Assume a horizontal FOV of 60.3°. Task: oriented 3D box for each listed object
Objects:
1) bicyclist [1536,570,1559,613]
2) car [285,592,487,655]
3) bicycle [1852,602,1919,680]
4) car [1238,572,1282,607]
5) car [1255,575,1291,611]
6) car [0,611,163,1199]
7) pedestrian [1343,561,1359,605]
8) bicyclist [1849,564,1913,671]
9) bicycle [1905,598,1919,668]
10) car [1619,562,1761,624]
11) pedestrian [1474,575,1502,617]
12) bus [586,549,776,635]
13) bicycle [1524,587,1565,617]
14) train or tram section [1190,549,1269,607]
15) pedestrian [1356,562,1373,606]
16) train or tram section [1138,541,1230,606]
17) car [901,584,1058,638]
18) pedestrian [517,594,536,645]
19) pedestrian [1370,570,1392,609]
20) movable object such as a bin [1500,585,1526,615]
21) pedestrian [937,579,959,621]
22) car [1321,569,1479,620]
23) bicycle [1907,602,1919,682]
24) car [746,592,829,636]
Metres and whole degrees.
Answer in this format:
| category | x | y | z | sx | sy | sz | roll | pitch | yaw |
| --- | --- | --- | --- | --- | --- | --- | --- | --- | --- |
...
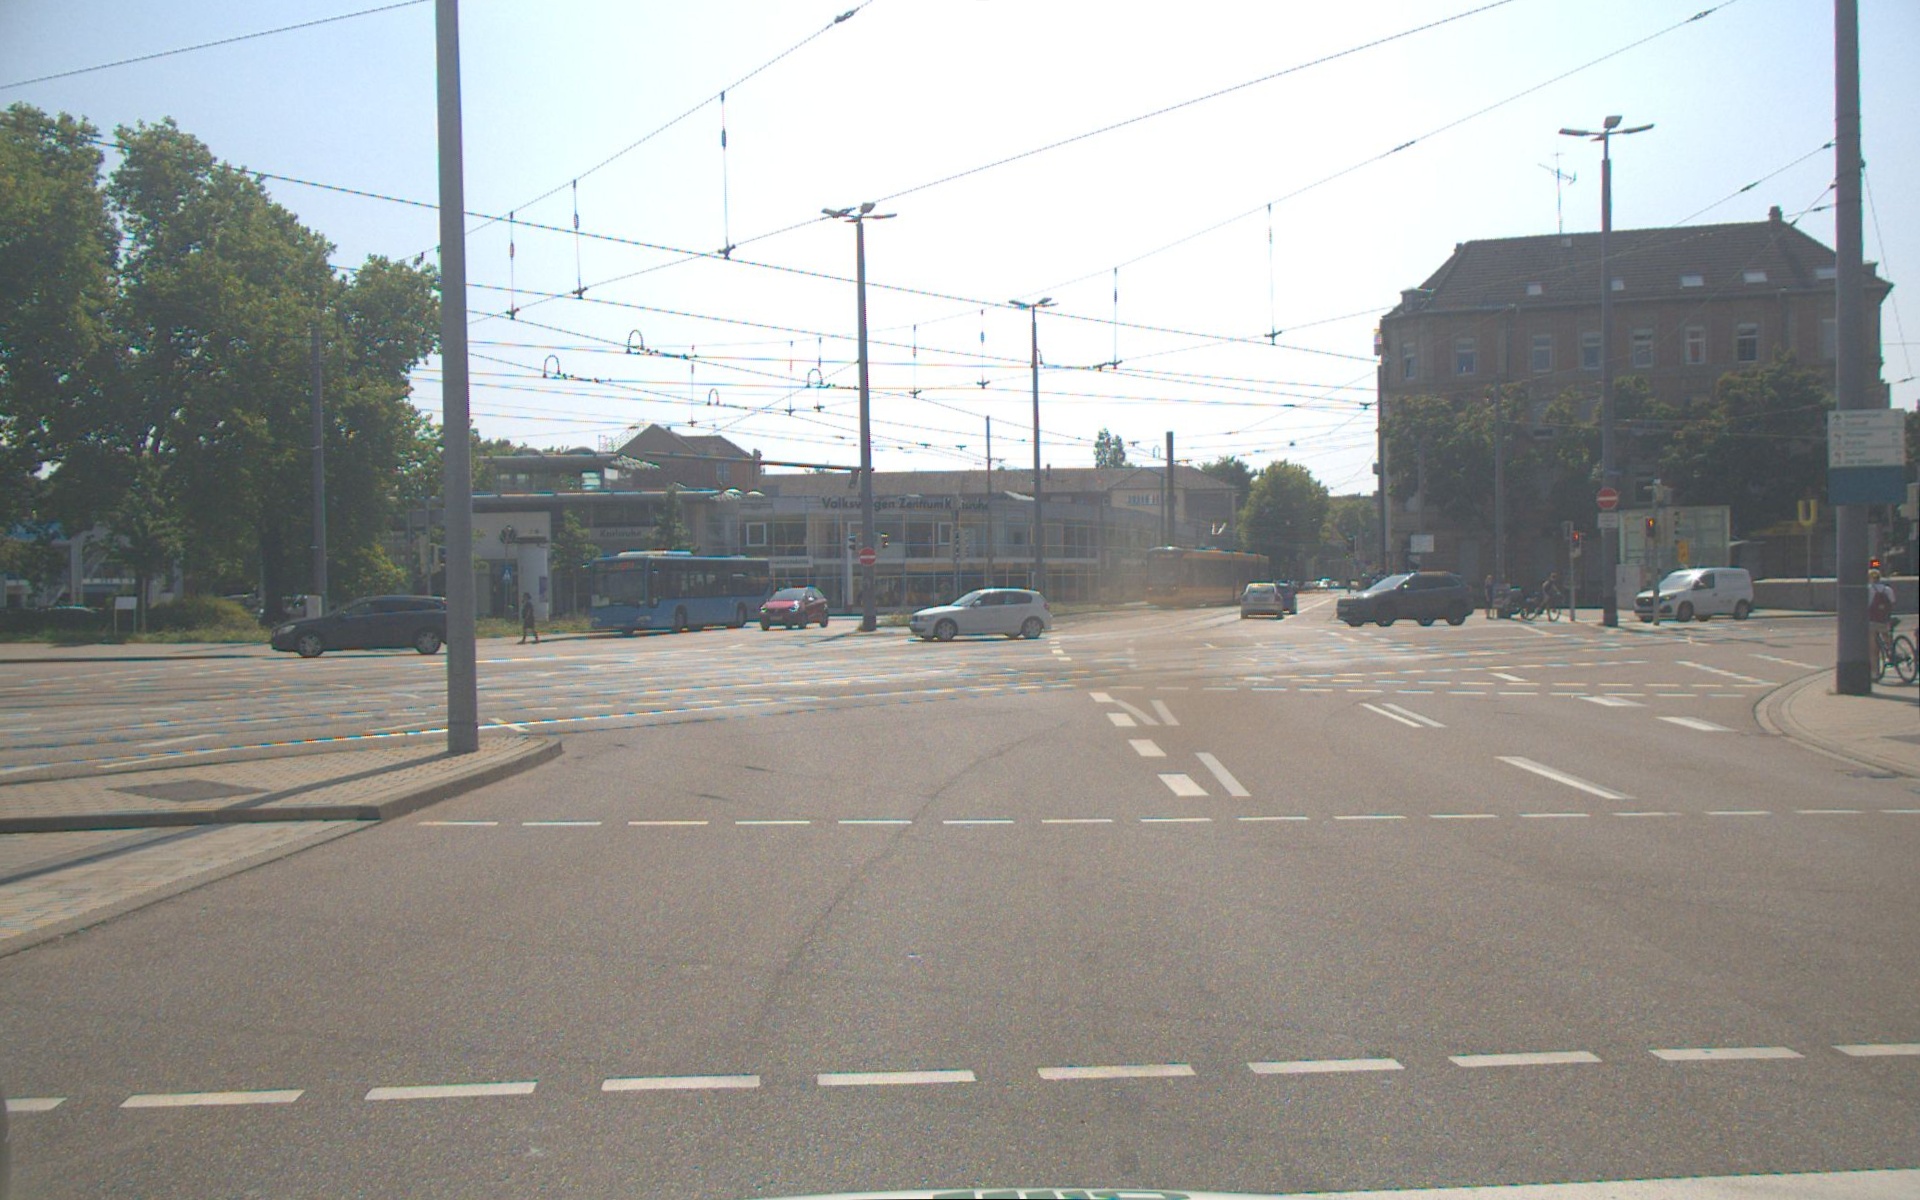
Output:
| category | x | y | z | sx | sy | sz | roll | pitch | yaw |
| --- | --- | --- | --- | --- | --- | --- | --- | --- | --- |
| bicyclist | 21.454 | -0.298 | 60.393 | 0.603 | 1.555 | 0.517 | -1 | 0 | -25 |
| car | -14.383 | 0.551 | 41.586 | 4.684 | 1.440 | 1.765 | -1 | 0 | -20 |
| bicycle | 13.482 | 0.571 | 23.947 | 0.525 | 1.073 | 1.655 | -1 | 0 | 12 |
| car | 12.682 | -0.451 | 69.842 | 1.732 | 1.440 | 4.193 | -1 | 0 | 11 |
| car | 14.836 | -0.322 | 78.284 | 1.601 | 1.646 | 4.004 | -1 | 0 | 11 |
| car | -2.534 | 0.730 | 1.342 | 1.728 | 1.412 | 3.783 | 1 | 0 | 4 |
| pedestrian | 27.635 | -1.173 | 116.940 | 0.963 | 3.070 | 0.975 | -1 | 0 | 5 |
| bicyclist | 13.473 | 0.253 | 24.204 | 0.614 | 1.544 | 0.712 | -1 | 0 | 12 |
| bicycle | 15.145 | 0.518 | 25.458 | 0.525 | 1.073 | 1.655 | -1 | 0 | 12 |
| car | 25.138 | -0.258 | 56.961 | 4.552 | 2.049 | 1.984 | -1 | 0 | -25 |
| pedestrian | 20.038 | -0.158 | 62.799 | 0.834 | 1.572 | 0.528 | -1 | 0 | -9 |
| bus | -10.897 | -0.340 | 66.446 | 2.508 | 3.136 | 12.031 | -1 | 0 | 16 |
| bicycle | 21.381 | 0.067 | 60.567 | 0.462 | 1.073 | 1.643 | -1 | 0 | -20 |
| train or tram section | 17.436 | -1.411 | 106.504 | 2.536 | 3.578 | 9.653 | -1 | 0 | 24 |
| pedestrian | 28.355 | -1.140 | 115.859 | 0.963 | 3.070 | 0.975 | -1 | 0 | 5 |
| train or tram section | 13.280 | -1.538 | 97.127 | 2.536 | 3.578 | 10.895 | -1 | 0 | 23 |
| car | 0.550 | 0.291 | 47.209 | 4.126 | 1.440 | 1.765 | -1 | 0 | -20 |
| pedestrian | -14.591 | 0.652 | 55.663 | 0.544 | 1.713 | 0.452 | -1 | 0 | -19 |
| pedestrian | 17.604 | -0.441 | 69.143 | 0.686 | 1.631 | 0.572 | -1 | 0 | -8 |
| movable object such as a bin | 20.908 | 0.006 | 62.538 | 0.798 | 1.096 | 0.510 | -1 | 0 | -11 |
| pedestrian | -0.428 | 0.008 | 58.749 | 0.666 | 1.468 | 0.364 | -1 | 0 | -18 |
| car | 13.917 | -0.181 | 52.311 | 4.545 | 1.531 | 1.987 | -1 | 0 | -21 |
| bicycle | 13.129 | 0.570 | 21.692 | 0.481 | 1.073 | 1.824 | -1 | 0 | 4 |
| car | -6.548 | 0.528 | 63.235 | 1.713 | 1.579 | 4.002 | -1 | 0 | 17 |
